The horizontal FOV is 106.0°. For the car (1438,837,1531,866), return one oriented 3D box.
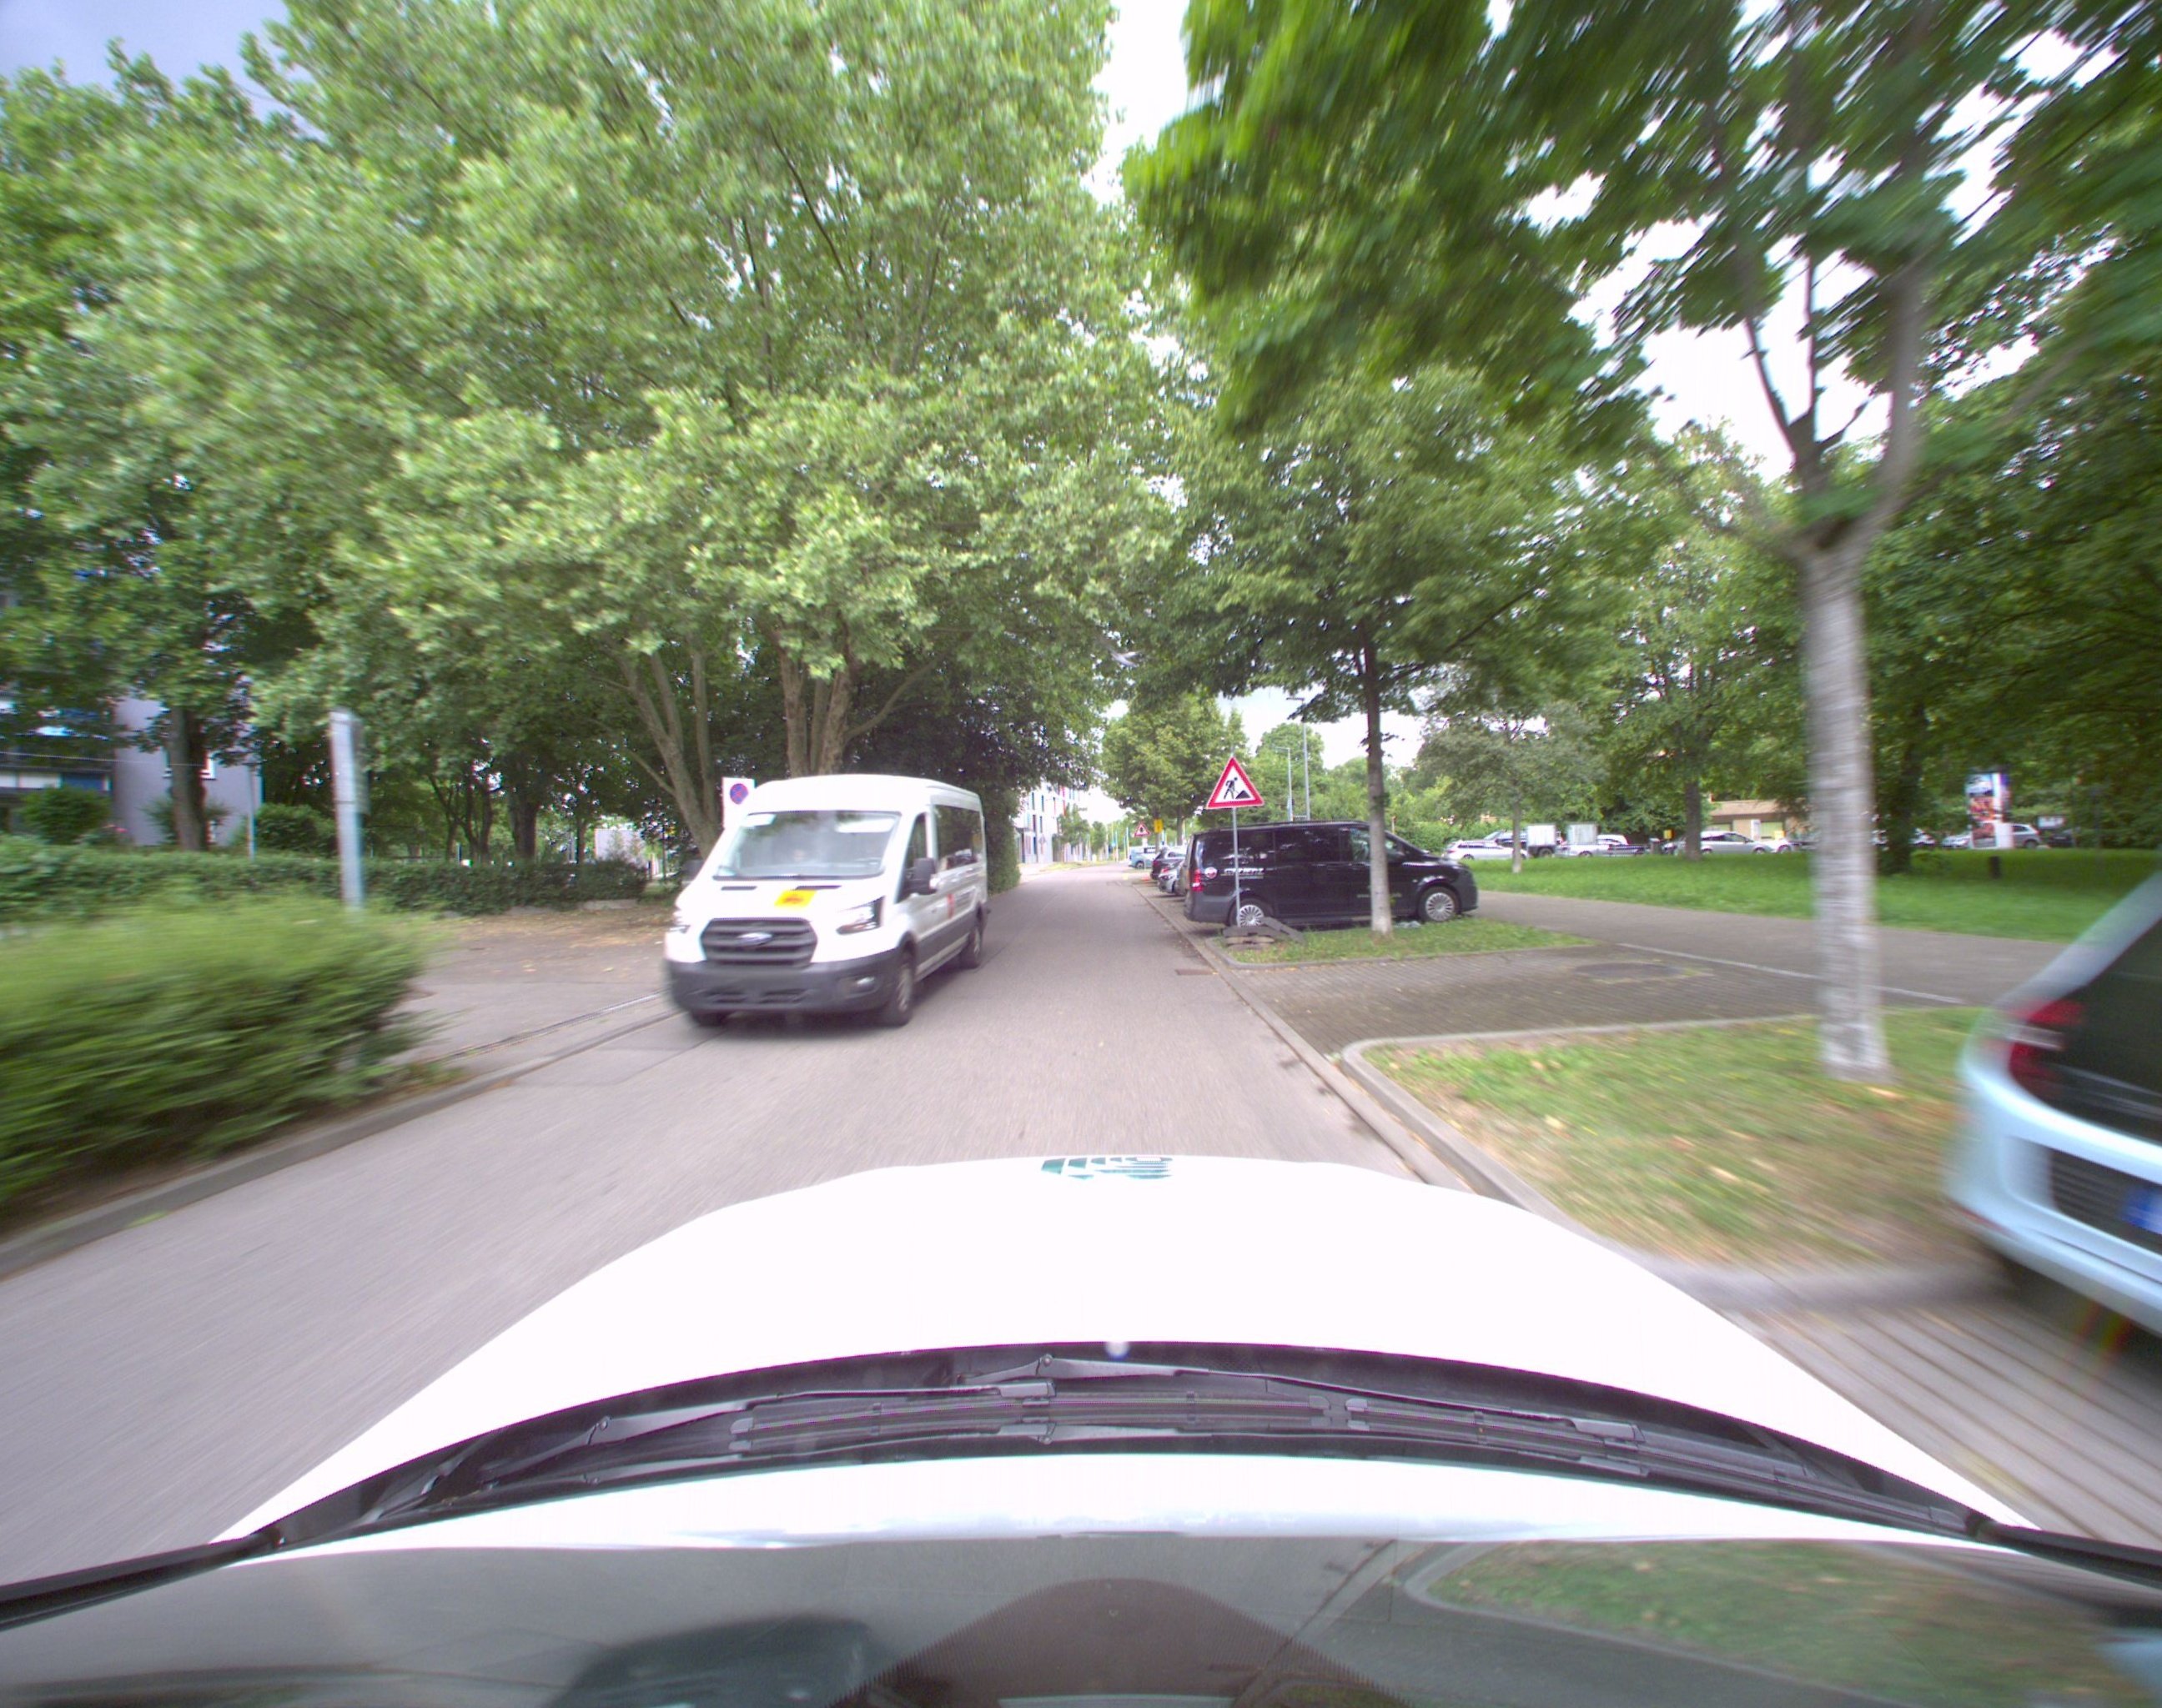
[{"bbox_3d":[22.765,-0.142,46.034,4.369,1.428,1.706,-2,-1,7],"label":"car"}]

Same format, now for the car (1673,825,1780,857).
[{"bbox_3d":[35.084,-0.696,44.363,4.259,1.526,1.707,-2,-1,8],"label":"car"}]

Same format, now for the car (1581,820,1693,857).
[{"bbox_3d":[34.415,-0.906,50.542,5.290,2.057,2.142,-2,0,7],"label":"car"}]

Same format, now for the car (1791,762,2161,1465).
[{"bbox_3d":[4.061,0.482,1.789,3.366,1.574,1.797,-4,0,1],"label":"car"}]

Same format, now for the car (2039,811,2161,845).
[{"bbox_3d":[52.953,-1.338,42.183,4.259,1.526,1.707,-2,-1,8],"label":"car"}]

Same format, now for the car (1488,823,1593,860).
[{"bbox_3d":[28.695,-0.753,51.033,5.290,2.057,2.142,-2,0,7],"label":"car"}]

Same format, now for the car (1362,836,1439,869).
[{"bbox_3d":[18.274,-0.088,46.665,3.757,1.668,1.772,-2,0,8],"label":"car"}]

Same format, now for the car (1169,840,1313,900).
[{"bbox_3d":[4.745,0.477,24.645,3.972,1.528,1.811,-3,-1,1],"label":"car"}]

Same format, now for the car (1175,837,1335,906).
[{"bbox_3d":[4.641,0.452,22.142,3.944,1.511,1.765,-4,0,3],"label":"car"}]

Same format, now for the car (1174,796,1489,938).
[{"bbox_3d":[4.300,0.221,14.703,4.935,2.013,2.167,-4,0,2],"label":"car"}]

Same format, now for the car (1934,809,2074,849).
[{"bbox_3d":[53.657,-1.440,47.466,5.290,2.057,2.142,-2,0,7],"label":"car"}]

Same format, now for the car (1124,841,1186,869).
[{"bbox_3d":[6.107,0.110,67.941,4.953,1.972,1.848,-4,0,2],"label":"car"}]

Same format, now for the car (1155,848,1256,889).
[{"bbox_3d":[4.923,0.573,32.531,3.814,1.358,1.824,-4,-1,4],"label":"car"}]

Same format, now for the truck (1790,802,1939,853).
[{"bbox_3d":[41.947,-1.390,43.725,5.476,2.426,2.197,-2,-1,7],"label":"truck"}]

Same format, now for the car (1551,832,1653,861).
[{"bbox_3d":[28.890,-0.407,45.271,4.404,1.428,1.707,-2,-1,8],"label":"car"}]

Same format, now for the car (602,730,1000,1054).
[{"bbox_3d":[-2.472,0.284,9.400,2.123,2.476,6.281,-1,0,3],"label":"car"}]

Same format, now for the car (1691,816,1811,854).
[{"bbox_3d":[40.792,-1.108,49.685,5.290,2.057,2.142,-2,0,7],"label":"car"}]

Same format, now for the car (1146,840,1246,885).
[{"bbox_3d":[4.905,0.374,35.175,4.104,1.650,1.982,-4,-1,4],"label":"car"}]

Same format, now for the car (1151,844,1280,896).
[{"bbox_3d":[4.446,0.532,27.365,3.973,1.430,1.936,-3,-1,0],"label":"car"}]
